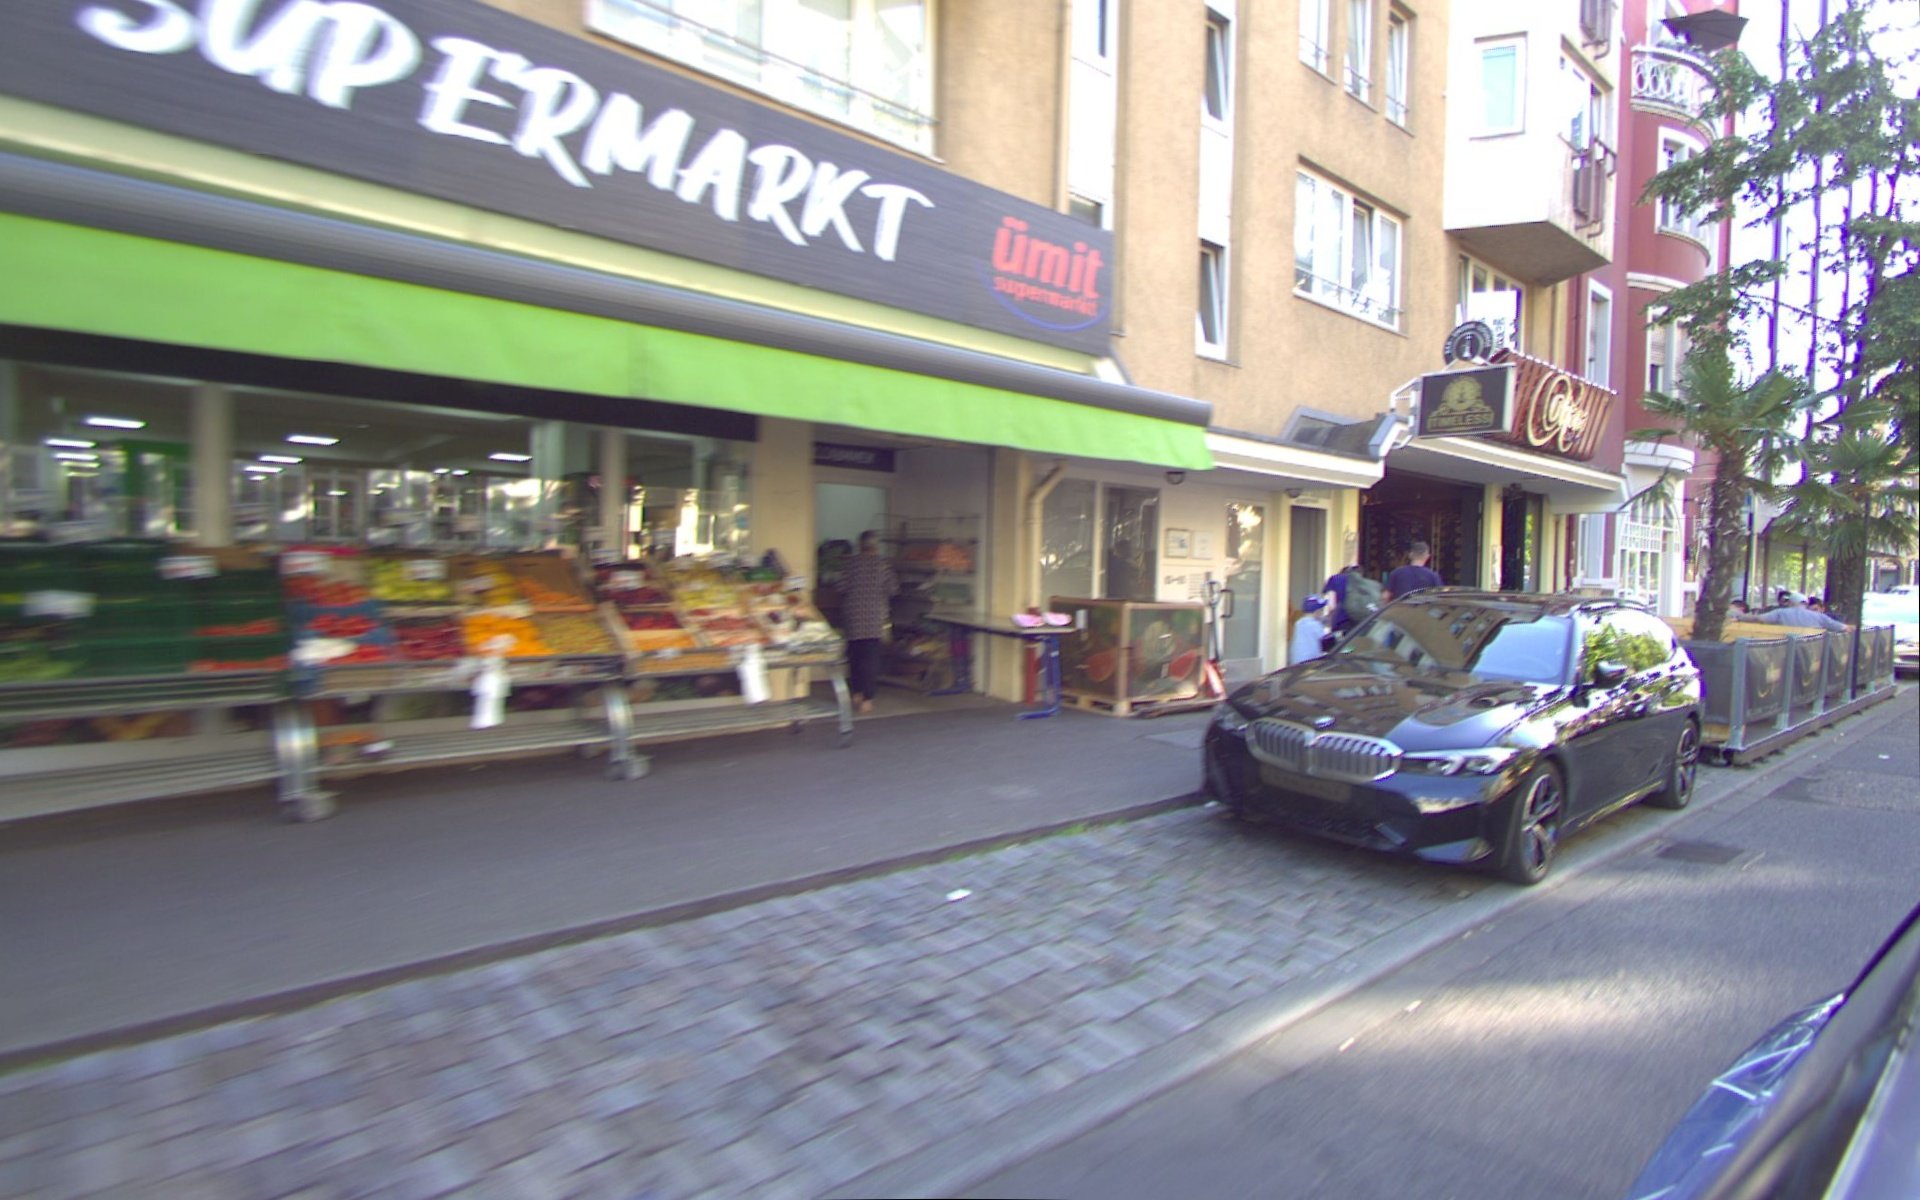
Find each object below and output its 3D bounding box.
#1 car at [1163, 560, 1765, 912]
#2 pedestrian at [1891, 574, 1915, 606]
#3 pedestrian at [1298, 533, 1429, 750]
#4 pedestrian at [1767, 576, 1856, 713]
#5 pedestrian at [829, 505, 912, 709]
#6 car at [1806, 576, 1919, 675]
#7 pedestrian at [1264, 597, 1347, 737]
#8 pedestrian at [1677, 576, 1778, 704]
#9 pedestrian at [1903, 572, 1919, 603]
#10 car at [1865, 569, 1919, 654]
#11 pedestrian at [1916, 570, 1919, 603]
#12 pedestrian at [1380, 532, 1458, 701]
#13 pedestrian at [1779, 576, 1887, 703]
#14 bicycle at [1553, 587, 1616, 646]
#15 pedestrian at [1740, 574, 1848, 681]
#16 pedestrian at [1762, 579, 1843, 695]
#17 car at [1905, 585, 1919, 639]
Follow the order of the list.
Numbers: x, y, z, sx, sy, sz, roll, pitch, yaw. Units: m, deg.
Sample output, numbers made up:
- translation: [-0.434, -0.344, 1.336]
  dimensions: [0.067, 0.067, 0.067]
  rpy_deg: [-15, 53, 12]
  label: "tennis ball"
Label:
- translation: [3.637, 0.570, 6.796]
  dimensions: [4.826, 1.489, 1.827]
  rpy_deg: [-1, 5, -41]
  label: "car"
- translation: [51.121, -0.532, 54.881]
  dimensions: [0.701, 1.713, 0.621]
  rpy_deg: [0, 1, -13]
  label: "pedestrian"
- translation: [3.353, 0.315, 8.438]
  dimensions: [0.746, 1.716, 0.620]
  rpy_deg: [0, 2, -25]
  label: "pedestrian"
- translation: [10.297, 0.504, 12.232]
  dimensions: [0.963, 1.555, 0.651]
  rpy_deg: [0, 2, -42]
  label: "pedestrian"
- translation: [-0.781, 0.048, 8.671]
  dimensions: [0.606, 1.662, 0.764]
  rpy_deg: [1, 2, -10]
  label: "pedestrian"
- translation: [17.958, 0.416, 19.416]
  dimensions: [4.757, 1.615, 1.827]
  rpy_deg: [-1, 5, -41]
  label: "car"
- translation: [3.038, 0.570, 8.906]
  dimensions: [0.491, 1.177, 0.445]
  rpy_deg: [0, 2, -28]
  label: "pedestrian"
- translation: [9.774, 0.479, 12.903]
  dimensions: [0.753, 1.555, 0.715]
  rpy_deg: [0, 2, -26]
  label: "pedestrian"
- translation: [52.103, -0.689, 55.292]
  dimensions: [0.701, 1.713, 0.500]
  rpy_deg: [0, 1, -13]
  label: "pedestrian"
- translation: [22.801, 0.267, 23.370]
  dimensions: [4.839, 1.798, 1.828]
  rpy_deg: [0, 4, -37]
  label: "car"
- translation: [51.260, -0.696, 53.549]
  dimensions: [0.663, 1.712, 0.619]
  rpy_deg: [1, 3, 3]
  label: "pedestrian"
- translation: [4.831, 0.157, 10.679]
  dimensions: [0.621, 1.716, 0.501]
  rpy_deg: [2, 2, 15]
  label: "pedestrian"
- translation: [11.262, 0.480, 13.066]
  dimensions: [0.791, 1.555, 0.753]
  rpy_deg: [0, 2, -26]
  label: "pedestrian"
- translation: [11.434, 0.284, 18.507]
  dimensions: [1.671, 1.014, 0.475]
  rpy_deg: [-1, 3, -41]
  label: "bicycle"
- translation: [12.891, 0.397, 15.657]
  dimensions: [0.875, 1.555, 1.060]
  rpy_deg: [0, 2, -36]
  label: "pedestrian"
- translation: [11.783, 0.492, 14.157]
  dimensions: [0.762, 1.555, 0.694]
  rpy_deg: [0, 2, -40]
  label: "pedestrian"
- translation: [27.470, 0.359, 27.632]
  dimensions: [4.756, 1.419, 1.827]
  rpy_deg: [0, 5, -40]
  label: "car"
